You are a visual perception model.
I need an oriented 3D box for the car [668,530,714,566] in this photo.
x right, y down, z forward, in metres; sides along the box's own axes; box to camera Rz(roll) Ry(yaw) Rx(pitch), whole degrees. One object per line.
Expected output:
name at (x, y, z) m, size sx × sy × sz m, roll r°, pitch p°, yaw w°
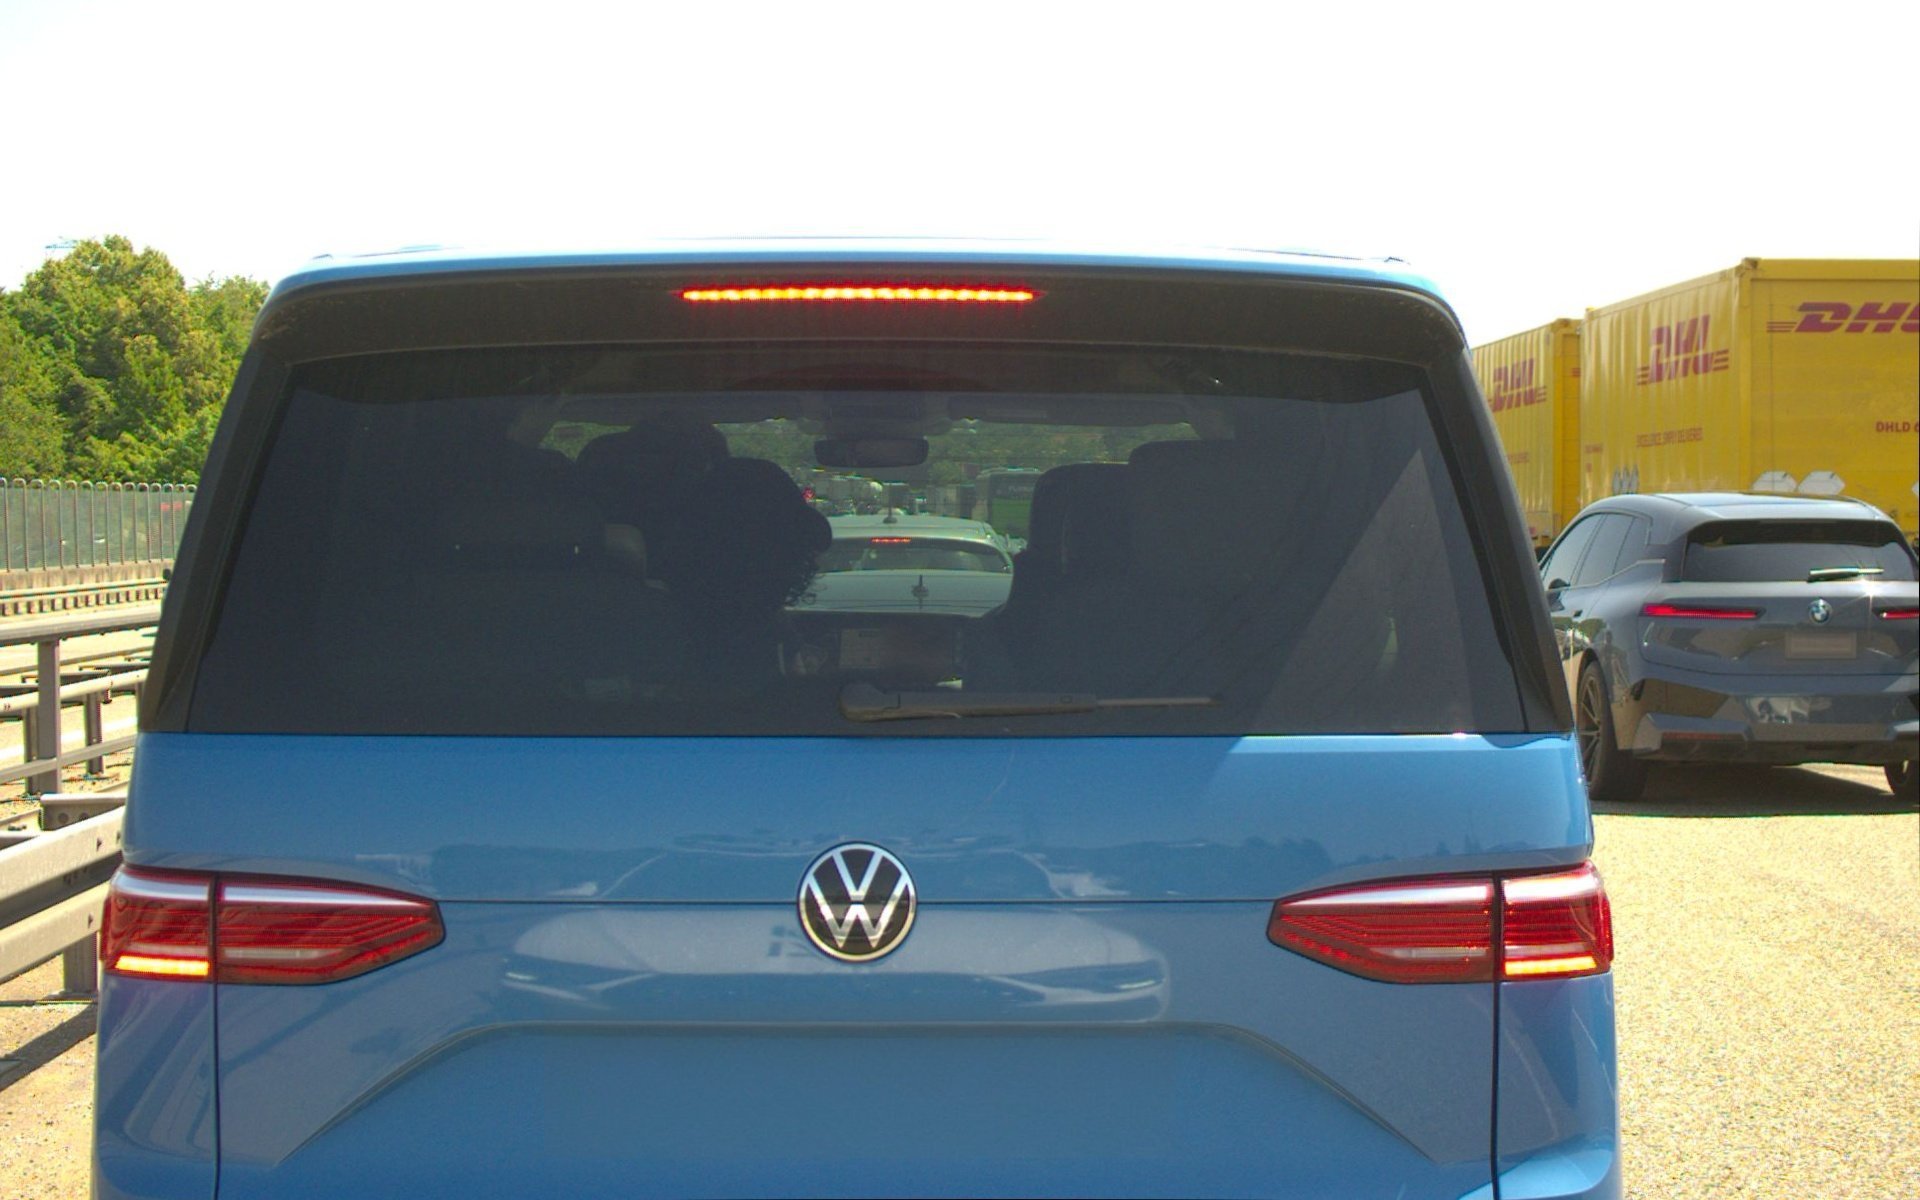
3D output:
car at (-11.348, -2.195, 144.996) m, size 1.619 × 1.459 × 3.702 m, roll -2°, pitch 1°, yaw 0°

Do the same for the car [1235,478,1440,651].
car at (4.503, -0.453, 41.594) m, size 1.962 × 1.986 × 4.293 m, roll 0°, pitch 1°, yaw -1°

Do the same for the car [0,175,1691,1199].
car at (-0.165, 0.451, 5.682) m, size 1.820 × 1.851 × 4.075 m, roll 1°, pitch 1°, yaw 0°

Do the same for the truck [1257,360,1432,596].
truck at (7.656, -2.387, 69.242) m, size 2.667 × 4.469 × 6.850 m, roll 1°, pitch 1°, yaw 0°

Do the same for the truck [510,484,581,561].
truck at (-18.992, -3.547, 157.661) m, size 2.497 × 3.354 × 5.834 m, roll -2°, pitch 1°, yaw -1°

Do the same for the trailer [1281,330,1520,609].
trailer at (7.704, -2.254, 61.615) m, size 2.637 × 4.501 × 11.302 m, roll 1°, pitch 1°, yaw -1°

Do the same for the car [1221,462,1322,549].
car at (7.410, -2.235, 82.148) m, size 1.993 × 2.007 × 4.000 m, roll 1°, pitch 1°, yaw 0°

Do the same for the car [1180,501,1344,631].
car at (4.344, -0.522, 49.994) m, size 1.993 × 1.809 × 4.000 m, roll 0°, pitch 1°, yaw -1°

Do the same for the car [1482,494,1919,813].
car at (4.338, 0.227, 19.809) m, size 1.962 × 1.639 × 4.293 m, roll 0°, pitch 1°, yaw -1°

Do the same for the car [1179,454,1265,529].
car at (7.314, -3.015, 96.230) m, size 1.993 × 2.007 × 4.461 m, roll -1°, pitch 1°, yaw 0°

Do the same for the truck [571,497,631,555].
truck at (-20.529, -4.219, 197.069) m, size 2.518 × 3.100 × 8.724 m, roll -4°, pitch 1°, yaw -1°

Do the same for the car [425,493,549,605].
car at (-9.644, -1.060, 70.371) m, size 1.863 × 2.123 × 4.268 m, roll -3°, pitch 1°, yaw 0°

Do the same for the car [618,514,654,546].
car at (-22.780, -4.904, 241.520) m, size 2.082 × 2.142 × 4.312 m, roll -2°, pitch 2°, yaw 0°

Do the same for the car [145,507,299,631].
car at (-14.036, -0.618, 65.583) m, size 1.993 × 2.208 × 4.268 m, roll -3°, pitch 1°, yaw -1°

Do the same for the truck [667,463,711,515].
truck at (-18.887, -7.709, 240.015) m, size 2.561 × 3.348 × 8.865 m, roll -2°, pitch 1°, yaw -2°

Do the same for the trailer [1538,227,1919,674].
trailer at (8.520, -1.485, 37.189) m, size 2.864 × 4.224 × 9.012 m, roll 1°, pitch 1°, yaw -1°

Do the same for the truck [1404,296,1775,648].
truck at (8.337, -1.655, 47.184) m, size 2.836 × 4.228 × 11.011 m, roll 1°, pitch 1°, yaw -1°
